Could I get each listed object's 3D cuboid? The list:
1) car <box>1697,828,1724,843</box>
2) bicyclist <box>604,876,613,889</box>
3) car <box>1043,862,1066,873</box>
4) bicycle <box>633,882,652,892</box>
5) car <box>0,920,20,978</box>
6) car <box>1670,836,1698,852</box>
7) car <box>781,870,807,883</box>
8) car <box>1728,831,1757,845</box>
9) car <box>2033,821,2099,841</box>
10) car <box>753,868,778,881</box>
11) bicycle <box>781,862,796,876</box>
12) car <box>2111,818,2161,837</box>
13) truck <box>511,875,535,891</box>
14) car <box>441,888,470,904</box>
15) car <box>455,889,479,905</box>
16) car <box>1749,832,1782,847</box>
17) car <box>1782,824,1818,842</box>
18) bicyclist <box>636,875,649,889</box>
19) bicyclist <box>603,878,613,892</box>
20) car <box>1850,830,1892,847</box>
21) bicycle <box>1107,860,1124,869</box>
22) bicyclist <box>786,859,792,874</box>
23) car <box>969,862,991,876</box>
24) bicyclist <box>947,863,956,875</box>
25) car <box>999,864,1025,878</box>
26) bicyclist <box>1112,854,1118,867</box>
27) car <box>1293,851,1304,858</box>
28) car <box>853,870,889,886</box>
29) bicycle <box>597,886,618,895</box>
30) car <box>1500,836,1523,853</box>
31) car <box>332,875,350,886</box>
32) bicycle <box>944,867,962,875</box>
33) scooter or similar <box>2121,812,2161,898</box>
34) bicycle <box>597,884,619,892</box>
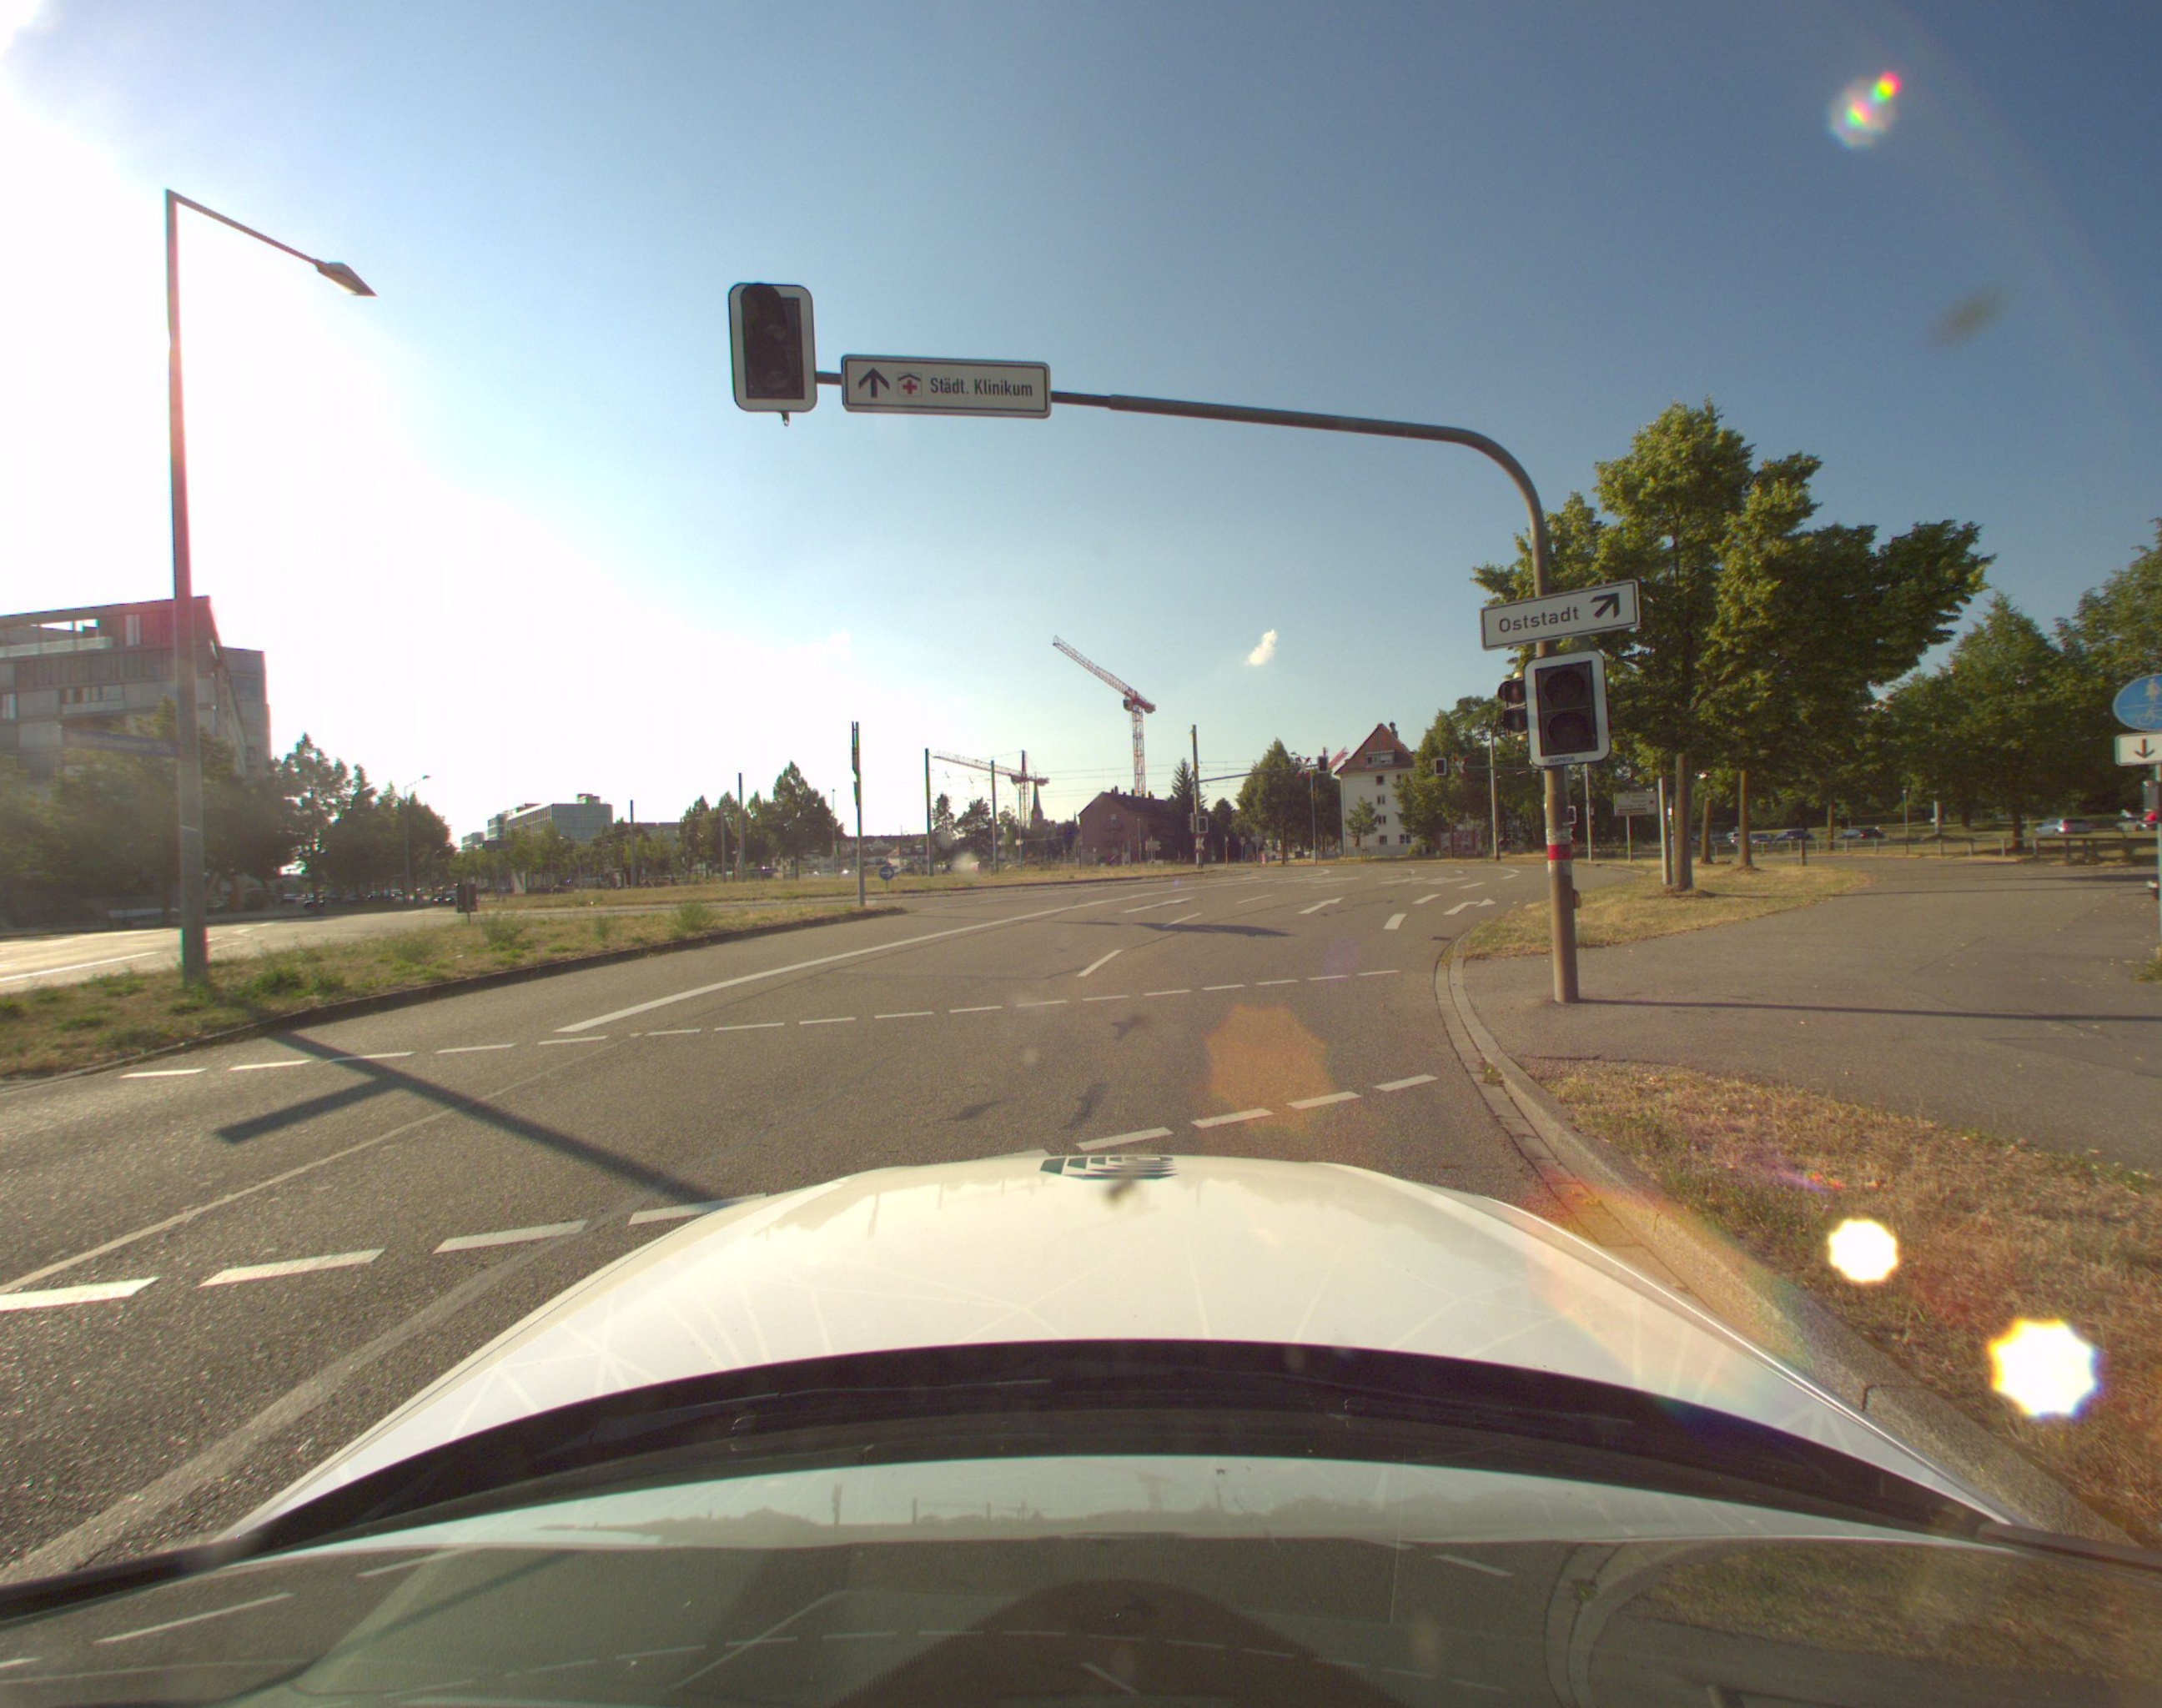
[{"bbox_3d":[64.743,-1.887,83.782,1.586,1.402,3.993,-3,-1,30],"label":"car"},{"bbox_3d":[-47.098,2.856,81.190,0.658,1.325,0.512,-2,0,-45],"label":"bicyclist"},{"bbox_3d":[-4.864,2.481,149.210,3.776,2.014,1.680,-3,-1,20],"label":"car"},{"bbox_3d":[-45.481,3.418,84.396,1.627,0.860,0.539,-2,0,-39],"label":"bicycle"},{"bbox_3d":[-33.779,2.889,23.704,4.159,1.673,1.782,-2,0,10],"label":"car"},{"bbox_3d":[56.014,-0.939,75.671,1.586,1.402,3.993,-3,-1,30],"label":"car"},{"bbox_3d":[-46.713,3.699,132.467,3.948,2.013,2.013,-3,0,36],"label":"car"},{"bbox_3d":[67.206,-1.606,82.805,1.586,1.402,3.993,-3,-1,30],"label":"car"},{"bbox_3d":[78.181,-1.805,64.707,1.804,1.403,4.023,-3,-1,26],"label":"car"},{"bbox_3d":[-53.238,3.384,137.395,3.948,2.013,2.013,-3,0,36],"label":"car"},{"bbox_3d":[-33.431,1.684,93.075,1.544,1.473,0.476,-2,0,-19],"label":"bicycle"},{"bbox_3d":[82.545,-2.056,63.103,1.804,1.403,4.023,-3,-1,26],"label":"car"},{"bbox_3d":[-125.016,6.484,182.487,3.156,3.231,7.085,-2,0,-44],"label":"truck"},{"bbox_3d":[-63.613,4.282,82.763,2.011,1.475,3.952,-2,0,-42],"label":"car"},{"bbox_3d":[-58.517,4.083,77.621,1.493,1.475,3.260,-2,0,-42],"label":"car"},{"bbox_3d":[61.525,-1.268,73.257,1.586,1.221,3.993,-3,-1,30],"label":"car"},{"bbox_3d":[63.027,-1.830,71.423,1.586,1.402,3.993,-3,-1,30],"label":"car"},{"bbox_3d":[-45.450,2.875,84.406,0.962,1.357,0.685,-2,0,-41],"label":"bicyclist"},{"bbox_3d":[-46.608,3.034,80.255,0.658,1.325,0.512,-2,0,-45],"label":"bicyclist"},{"bbox_3d":[67.136,-1.278,69.297,1.586,1.310,3.993,-3,-1,30],"label":"car"},{"bbox_3d":[4.062,1.213,95.816,1.983,0.918,0.429,-2,0,-4],"label":"bicycle"},{"bbox_3d":[-33.374,1.451,93.099,0.608,1.672,0.475,-2,-1,-19],"label":"bicyclist"},{"bbox_3d":[-14.504,2.130,116.922,1.929,1.854,3.965,-2,0,-26],"label":"car"},{"bbox_3d":[-15.503,1.742,97.478,0.895,1.396,0.525,-2,0,-4],"label":"bicyclist"},{"bbox_3d":[-11.208,2.774,133.057,3.776,2.014,1.680,-3,-1,20],"label":"car"},{"bbox_3d":[4.022,0.743,95.801,0.621,1.511,0.418,-2,0,-4],"label":"bicyclist"},{"bbox_3d":[42.185,0.146,158.134,1.442,1.300,3.569,-3,0,25],"label":"car"},{"bbox_3d":[-26.862,3.035,104.372,4.013,1.816,1.981,-2,0,-30],"label":"car"},{"bbox_3d":[-46.609,3.575,80.187,0.474,0.744,1.732,-3,0,45],"label":"bicycle"},{"bbox_3d":[42.929,-0.950,81.185,1.754,1.618,3.993,-3,-1,30],"label":"car"},{"bbox_3d":[-110.628,3.946,121.661,1.800,1.556,3.950,0,-1,-45],"label":"car"},{"bbox_3d":[-15.301,2.034,97.438,1.983,0.825,0.429,-2,0,-4],"label":"bicycle"},{"bbox_3d":[15.439,-0.011,11.620,1.172,1.160,0.340,-4,-3,-23],"label":"scooter or similar"},{"bbox_3d":[-47.117,3.402,81.132,0.474,0.744,1.732,-3,0,45],"label":"bicycle"}]
